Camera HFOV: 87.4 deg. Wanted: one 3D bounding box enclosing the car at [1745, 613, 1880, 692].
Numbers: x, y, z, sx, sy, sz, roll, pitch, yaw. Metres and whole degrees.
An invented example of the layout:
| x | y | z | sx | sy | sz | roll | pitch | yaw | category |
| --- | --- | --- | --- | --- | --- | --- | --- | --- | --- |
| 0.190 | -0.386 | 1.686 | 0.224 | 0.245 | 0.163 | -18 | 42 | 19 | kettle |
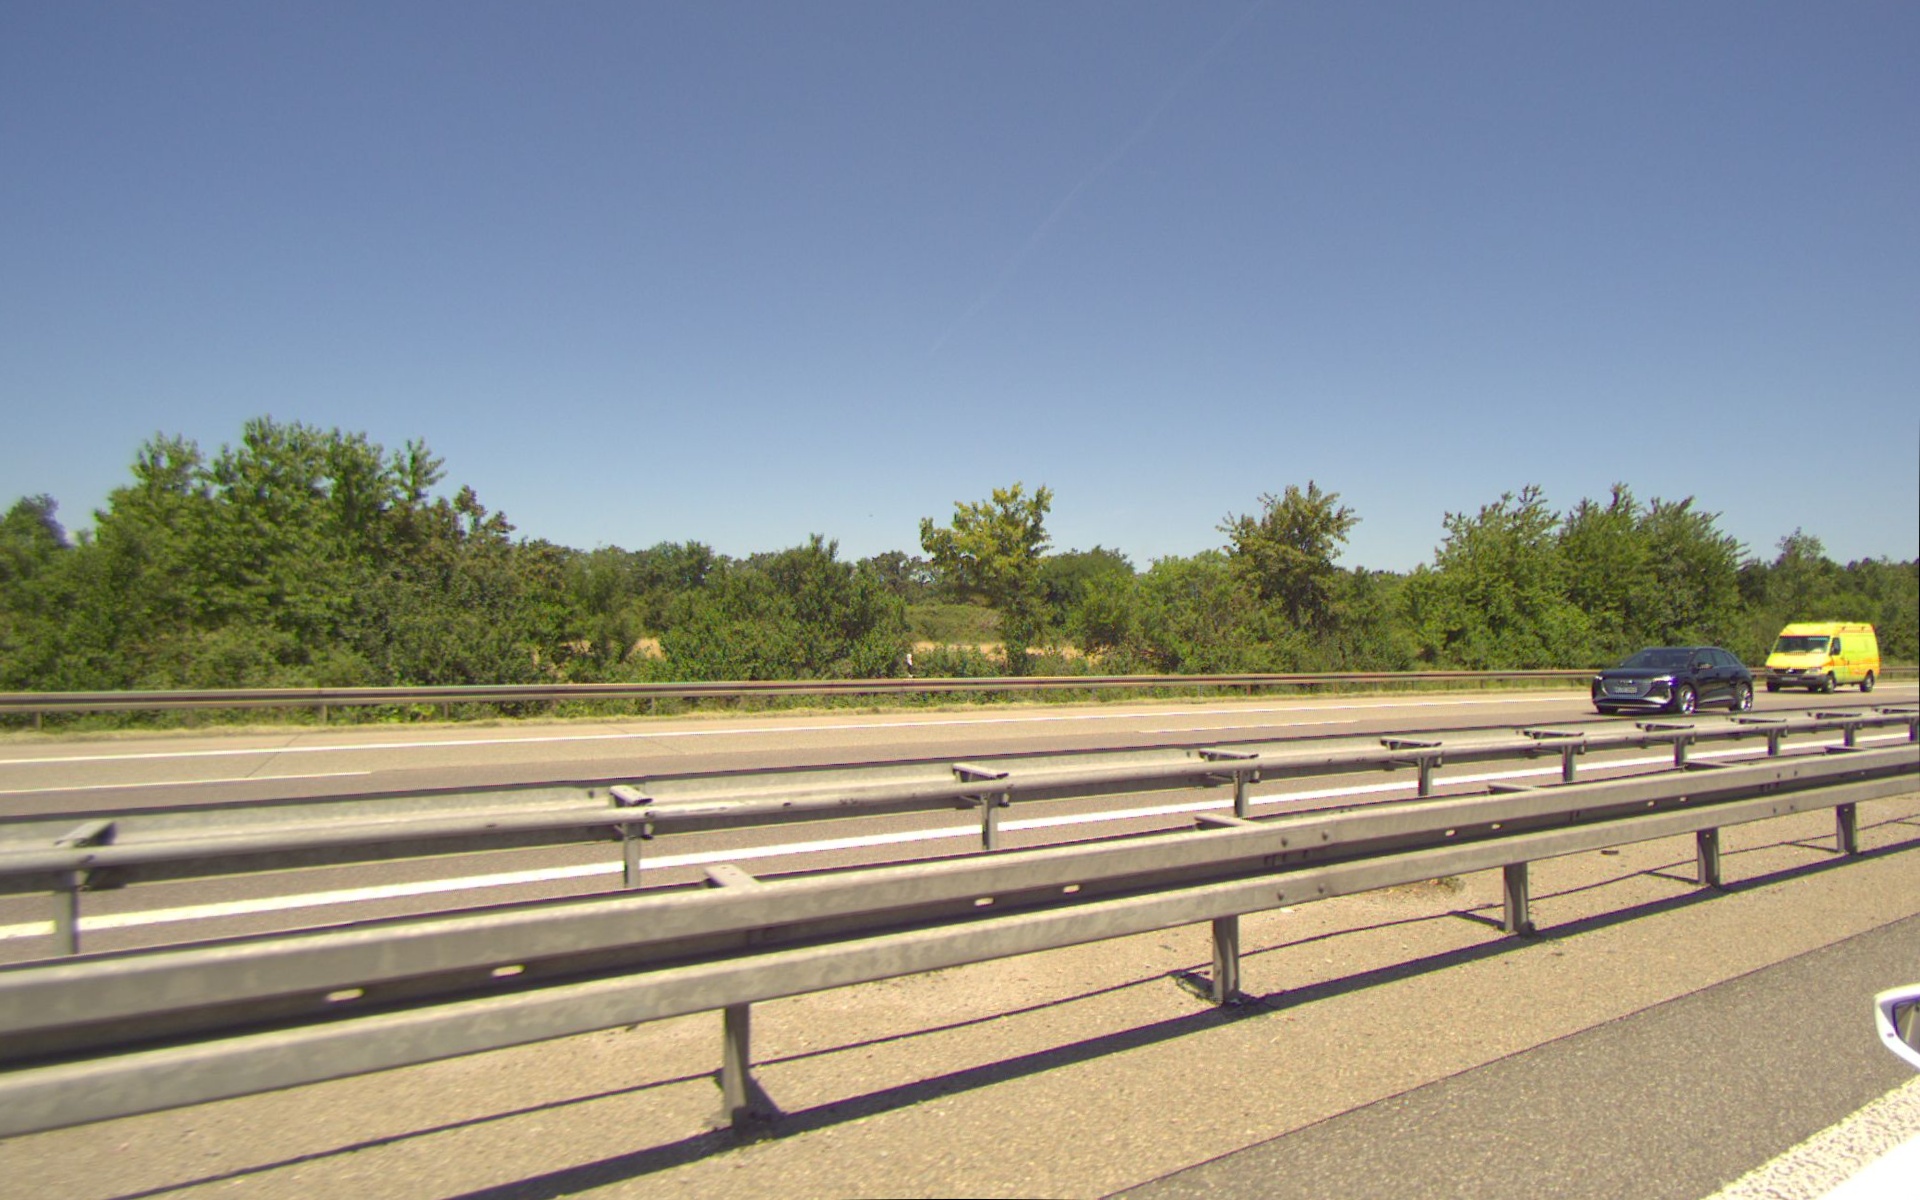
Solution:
| x | y | z | sx | sy | sz | roll | pitch | yaw | category |
| --- | --- | --- | --- | --- | --- | --- | --- | --- | --- |
| 32.623 | 1.993 | 38.411 | 5.733 | 2.815 | 2.155 | 2 | -3 | -31 | car |

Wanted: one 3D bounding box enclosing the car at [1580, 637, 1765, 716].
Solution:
| x | y | z | sx | sy | sz | roll | pitch | yaw | category |
| --- | --- | --- | --- | --- | --- | --- | --- | --- | --- |
| 16.927 | 1.766 | 23.810 | 4.573 | 1.712 | 1.860 | 2 | -3 | -31 | car |
